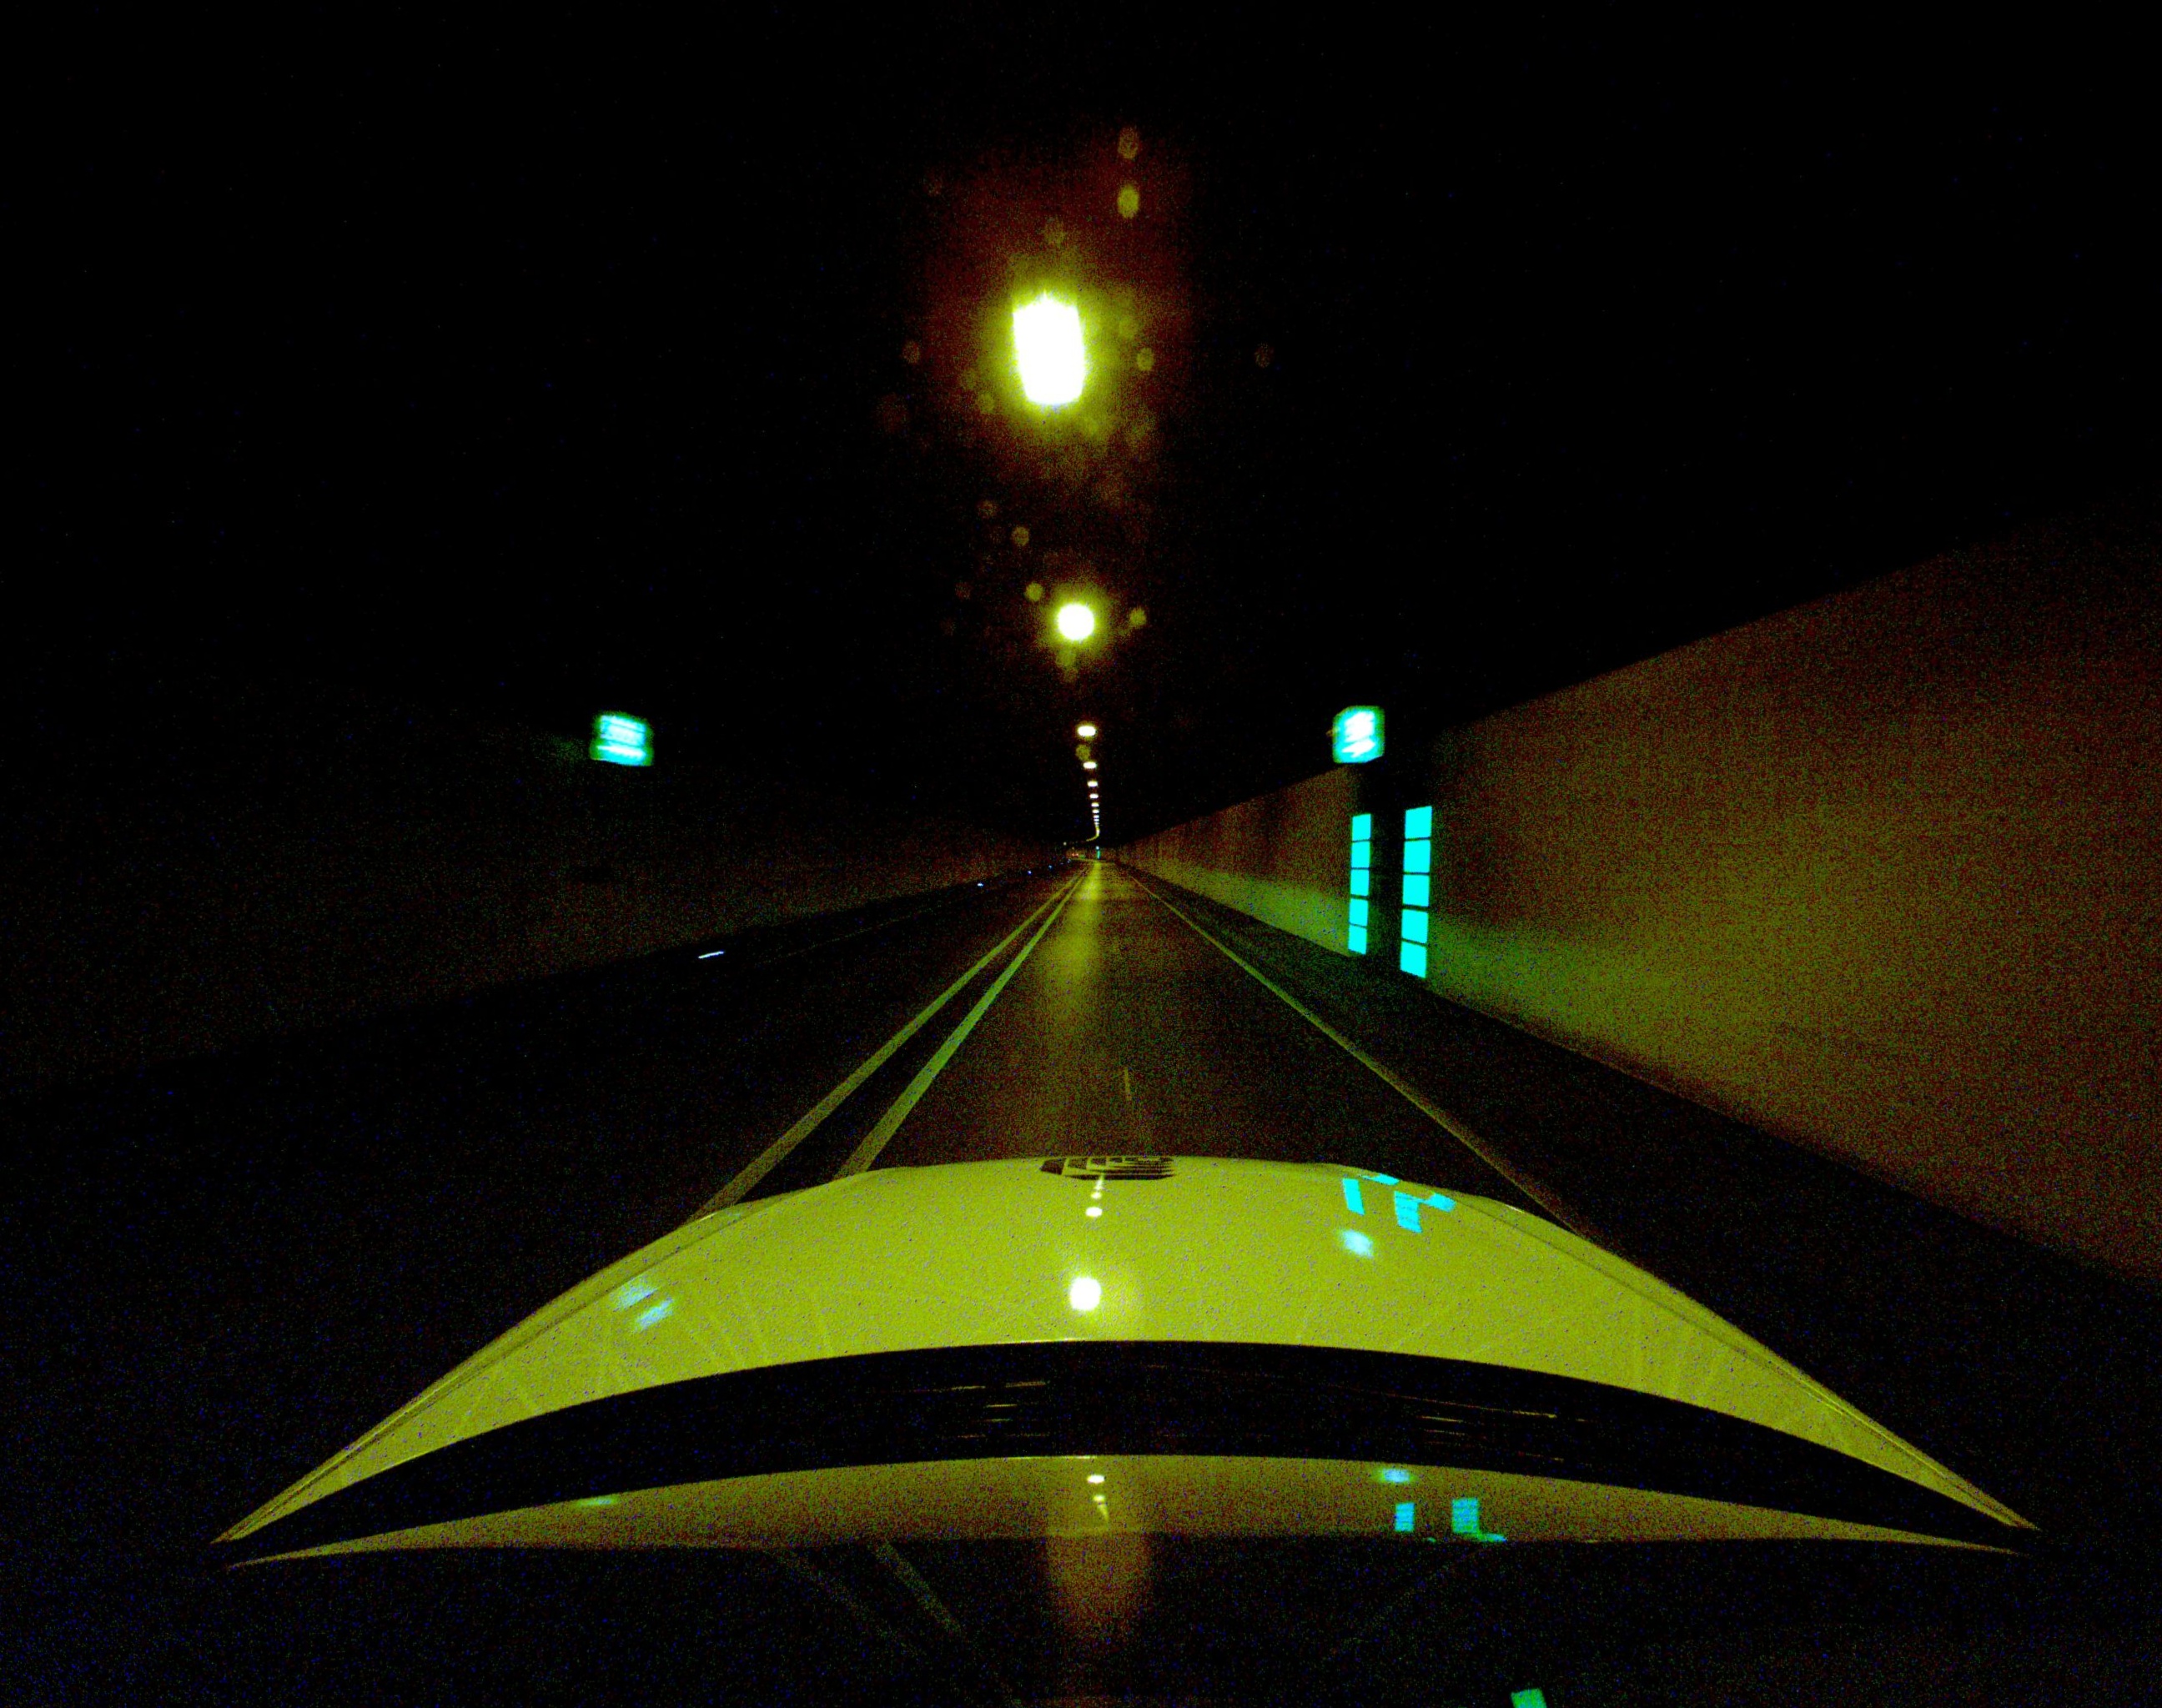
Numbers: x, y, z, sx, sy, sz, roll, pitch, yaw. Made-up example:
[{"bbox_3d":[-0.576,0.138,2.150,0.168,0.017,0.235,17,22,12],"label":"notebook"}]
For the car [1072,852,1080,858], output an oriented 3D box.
[{"bbox_3d":[-1.535,0.251,247.945,1.963,1.939,4.605,0,-1,-4],"label":"car"}]
